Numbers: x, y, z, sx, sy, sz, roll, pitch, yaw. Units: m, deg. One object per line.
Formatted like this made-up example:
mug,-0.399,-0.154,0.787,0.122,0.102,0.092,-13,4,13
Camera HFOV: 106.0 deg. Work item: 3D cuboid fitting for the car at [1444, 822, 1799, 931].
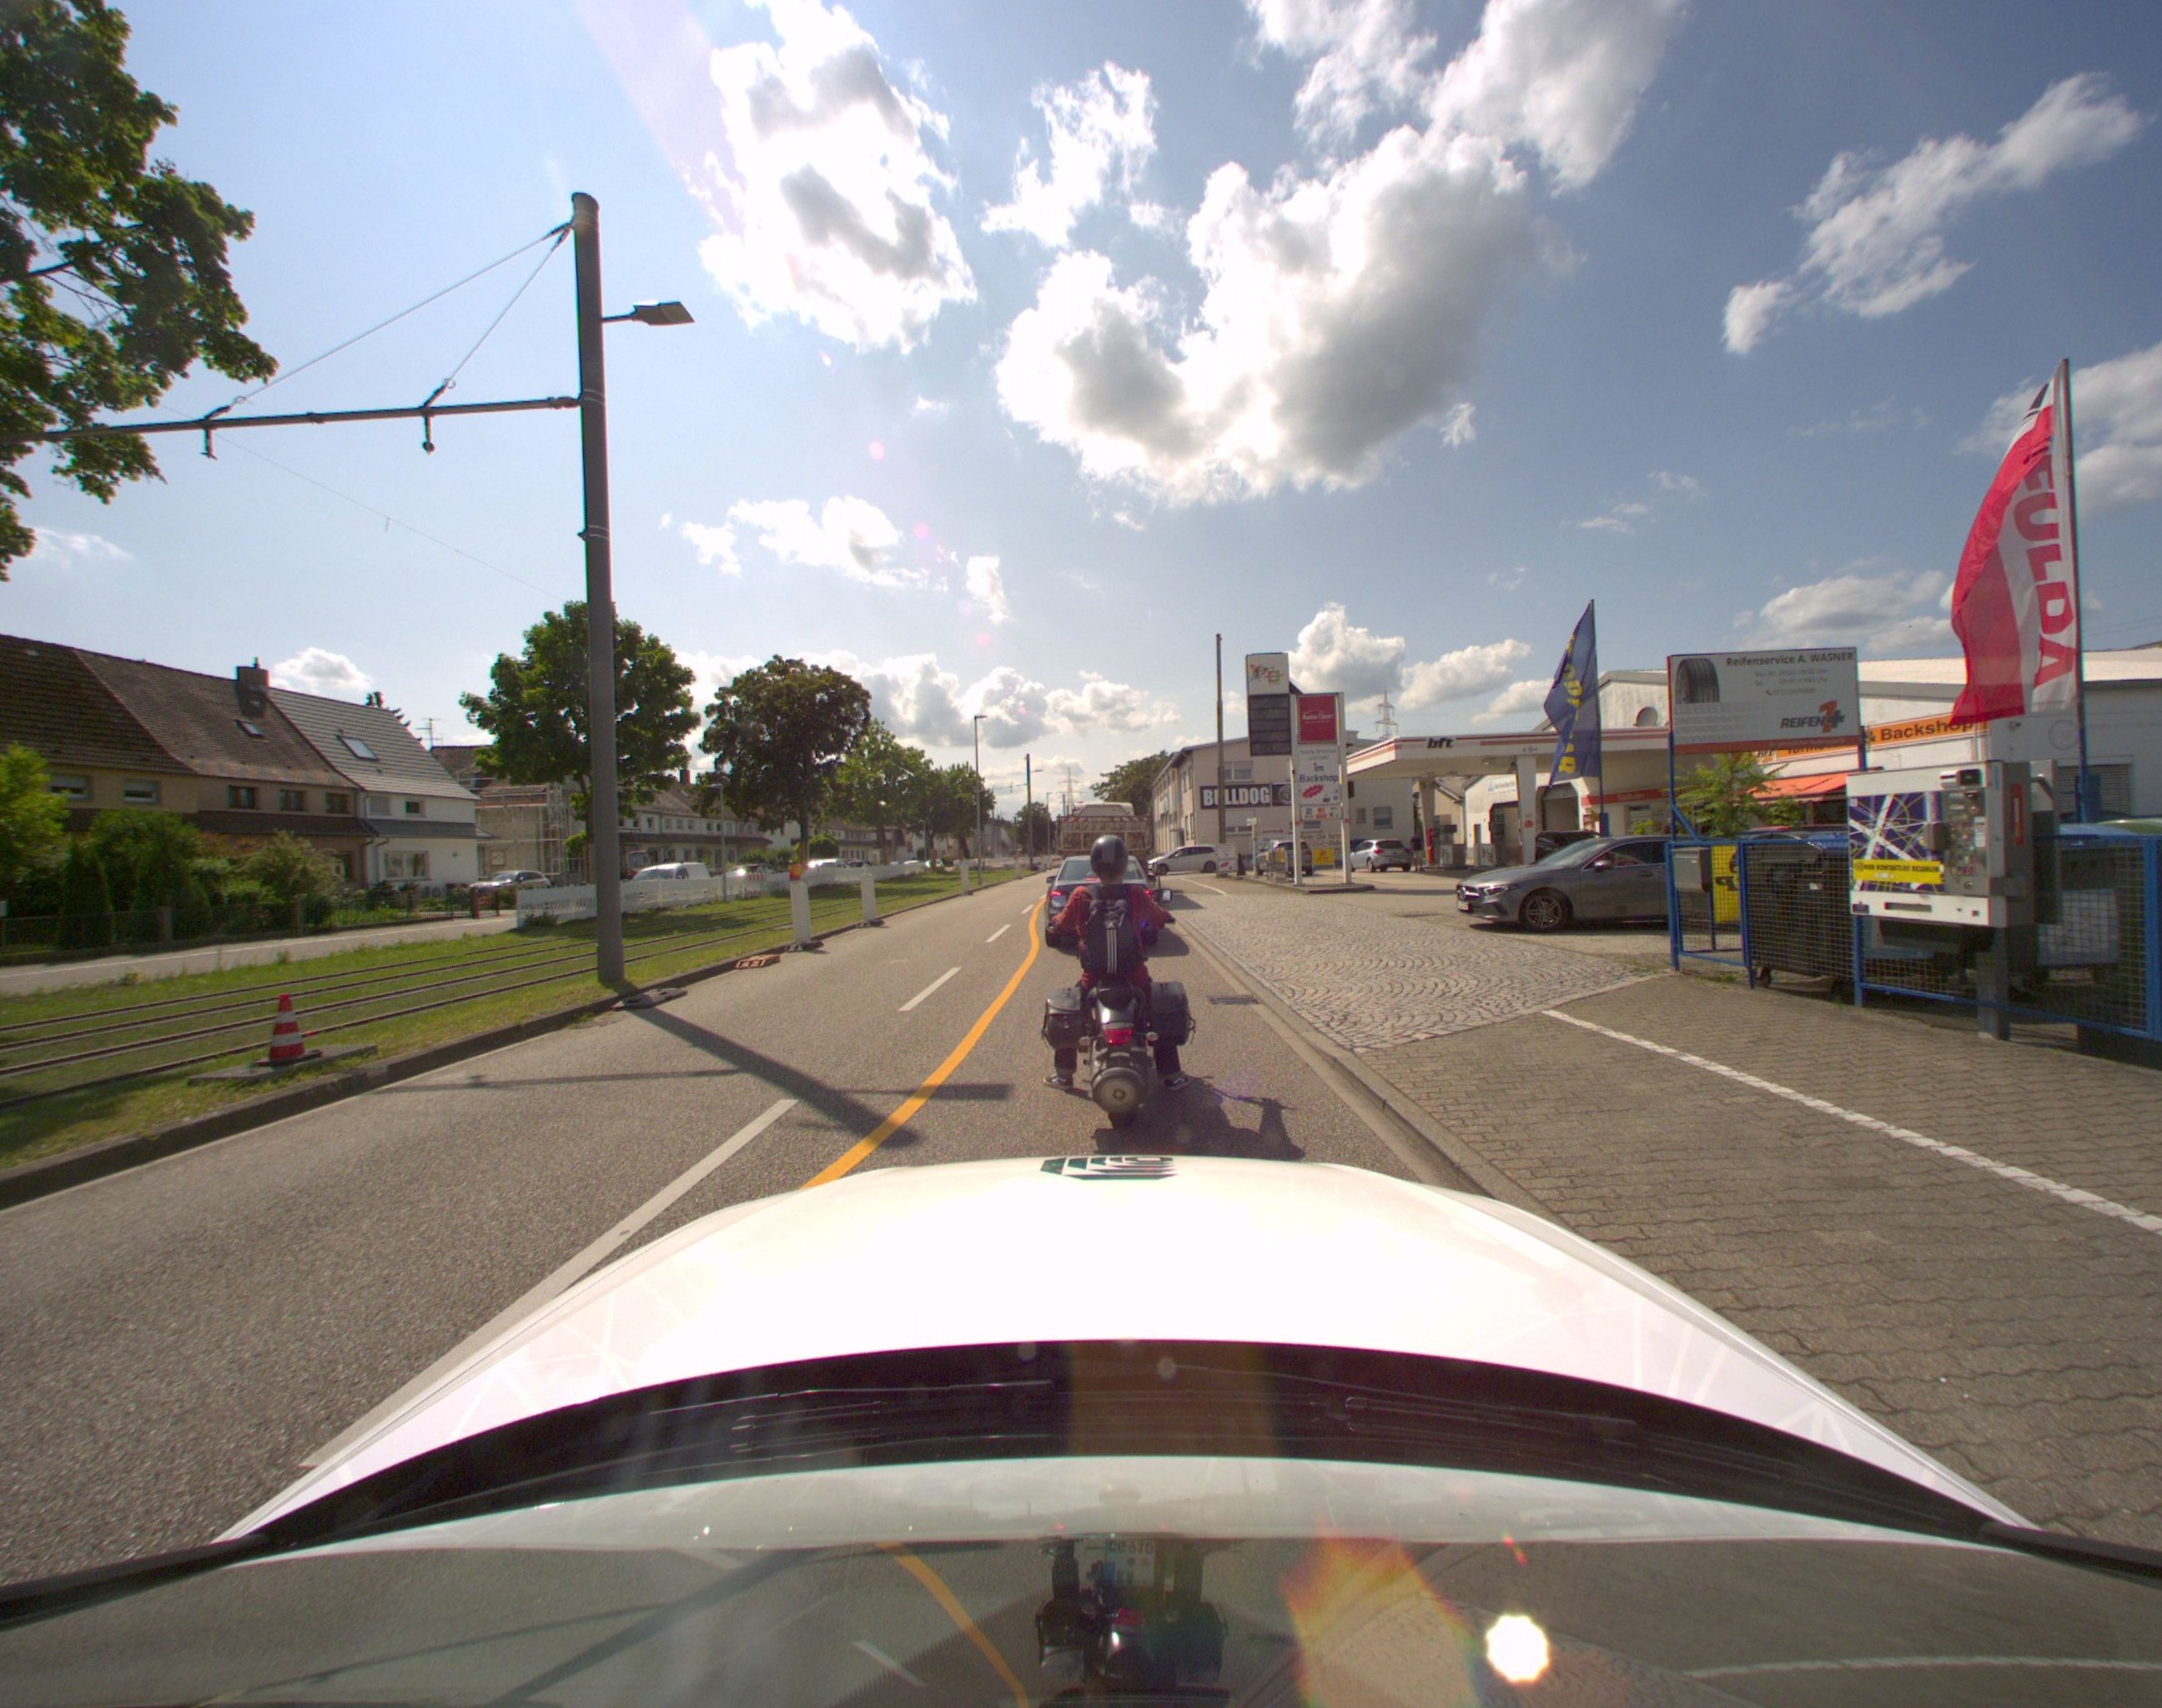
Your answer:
car,8.132,0.339,12.625,4.247,1.415,1.678,-2,0,9

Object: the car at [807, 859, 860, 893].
car,-15.062,1.329,49.856,1.769,1.867,4.130,-2,0,2

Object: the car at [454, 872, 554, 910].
car,-27.433,1.728,38.888,1.769,1.519,4.002,-2,0,2

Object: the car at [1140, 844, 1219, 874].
car,5.676,0.291,47.046,4.225,1.543,1.669,-2,0,-7

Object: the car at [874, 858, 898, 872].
car,-25.165,1.404,105.197,1.769,1.722,4.130,-2,0,2

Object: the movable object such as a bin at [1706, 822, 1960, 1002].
movable object such as a bin,6.697,0.477,7.356,1.104,1.436,1.244,-2,0,1

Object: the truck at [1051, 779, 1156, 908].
truck,0.732,-0.289,25.497,2.628,3.296,8.059,-2,0,2

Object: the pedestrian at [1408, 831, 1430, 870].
pedestrian,14.656,-0.133,35.317,0.701,1.656,0.551,-2,0,37

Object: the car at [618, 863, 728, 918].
car,-15.460,1.317,31.151,1.769,1.821,4.366,-2,0,2

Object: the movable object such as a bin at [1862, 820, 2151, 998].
movable object such as a bin,8.091,0.443,7.216,1.104,1.396,1.244,-2,0,1

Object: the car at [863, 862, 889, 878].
car,-24.392,1.841,97.036,1.769,1.722,4.130,-2,0,2

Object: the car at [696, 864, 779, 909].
car,-15.403,1.411,36.794,1.769,1.774,4.230,-2,0,2

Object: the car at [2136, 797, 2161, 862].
car,26.532,-0.639,18.002,4.180,1.463,1.587,-2,0,2

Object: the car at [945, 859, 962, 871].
car,-19.640,1.636,125.911,1.769,1.722,4.130,-2,0,2

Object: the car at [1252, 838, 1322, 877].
car,9.120,0.149,36.451,1.665,1.562,4.235,-2,0,-6

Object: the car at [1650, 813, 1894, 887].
car,15.780,-0.090,18.756,4.180,1.463,1.587,-2,0,2

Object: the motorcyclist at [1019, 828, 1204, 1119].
motorcyclist,0.187,0.675,5.138,0.975,1.602,1.088,-2,0,1

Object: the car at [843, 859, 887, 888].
car,-14.803,1.336,56.033,1.769,1.805,4.130,-2,0,2

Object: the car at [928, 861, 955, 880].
car,-13.730,1.633,80.450,1.769,1.722,4.130,-2,0,2

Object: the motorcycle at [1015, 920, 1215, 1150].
motorcycle,0.212,1.024,5.442,0.975,0.897,2.654,-2,0,2

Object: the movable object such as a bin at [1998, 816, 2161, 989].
movable object such as a bin,9.494,0.373,7.128,1.397,1.396,1.338,-2,0,1

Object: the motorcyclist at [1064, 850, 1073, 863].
motorcyclist,-1.291,0.268,85.586,0.866,1.378,0.800,-2,0,-1

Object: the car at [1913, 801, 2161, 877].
car,21.528,-0.343,18.164,4.180,1.463,1.587,-2,0,2

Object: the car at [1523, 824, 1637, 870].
car,18.124,-0.249,29.783,1.800,1.503,3.833,-2,0,0

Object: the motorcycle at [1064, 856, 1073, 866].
motorcycle,-1.275,0.739,85.407,0.866,1.021,2.244,-2,0,-1

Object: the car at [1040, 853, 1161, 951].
car,0.357,0.728,14.267,1.816,1.452,4.002,0,0,2

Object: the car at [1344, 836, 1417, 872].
car,13.480,-0.010,36.918,1.800,1.503,3.832,-2,0,-1
